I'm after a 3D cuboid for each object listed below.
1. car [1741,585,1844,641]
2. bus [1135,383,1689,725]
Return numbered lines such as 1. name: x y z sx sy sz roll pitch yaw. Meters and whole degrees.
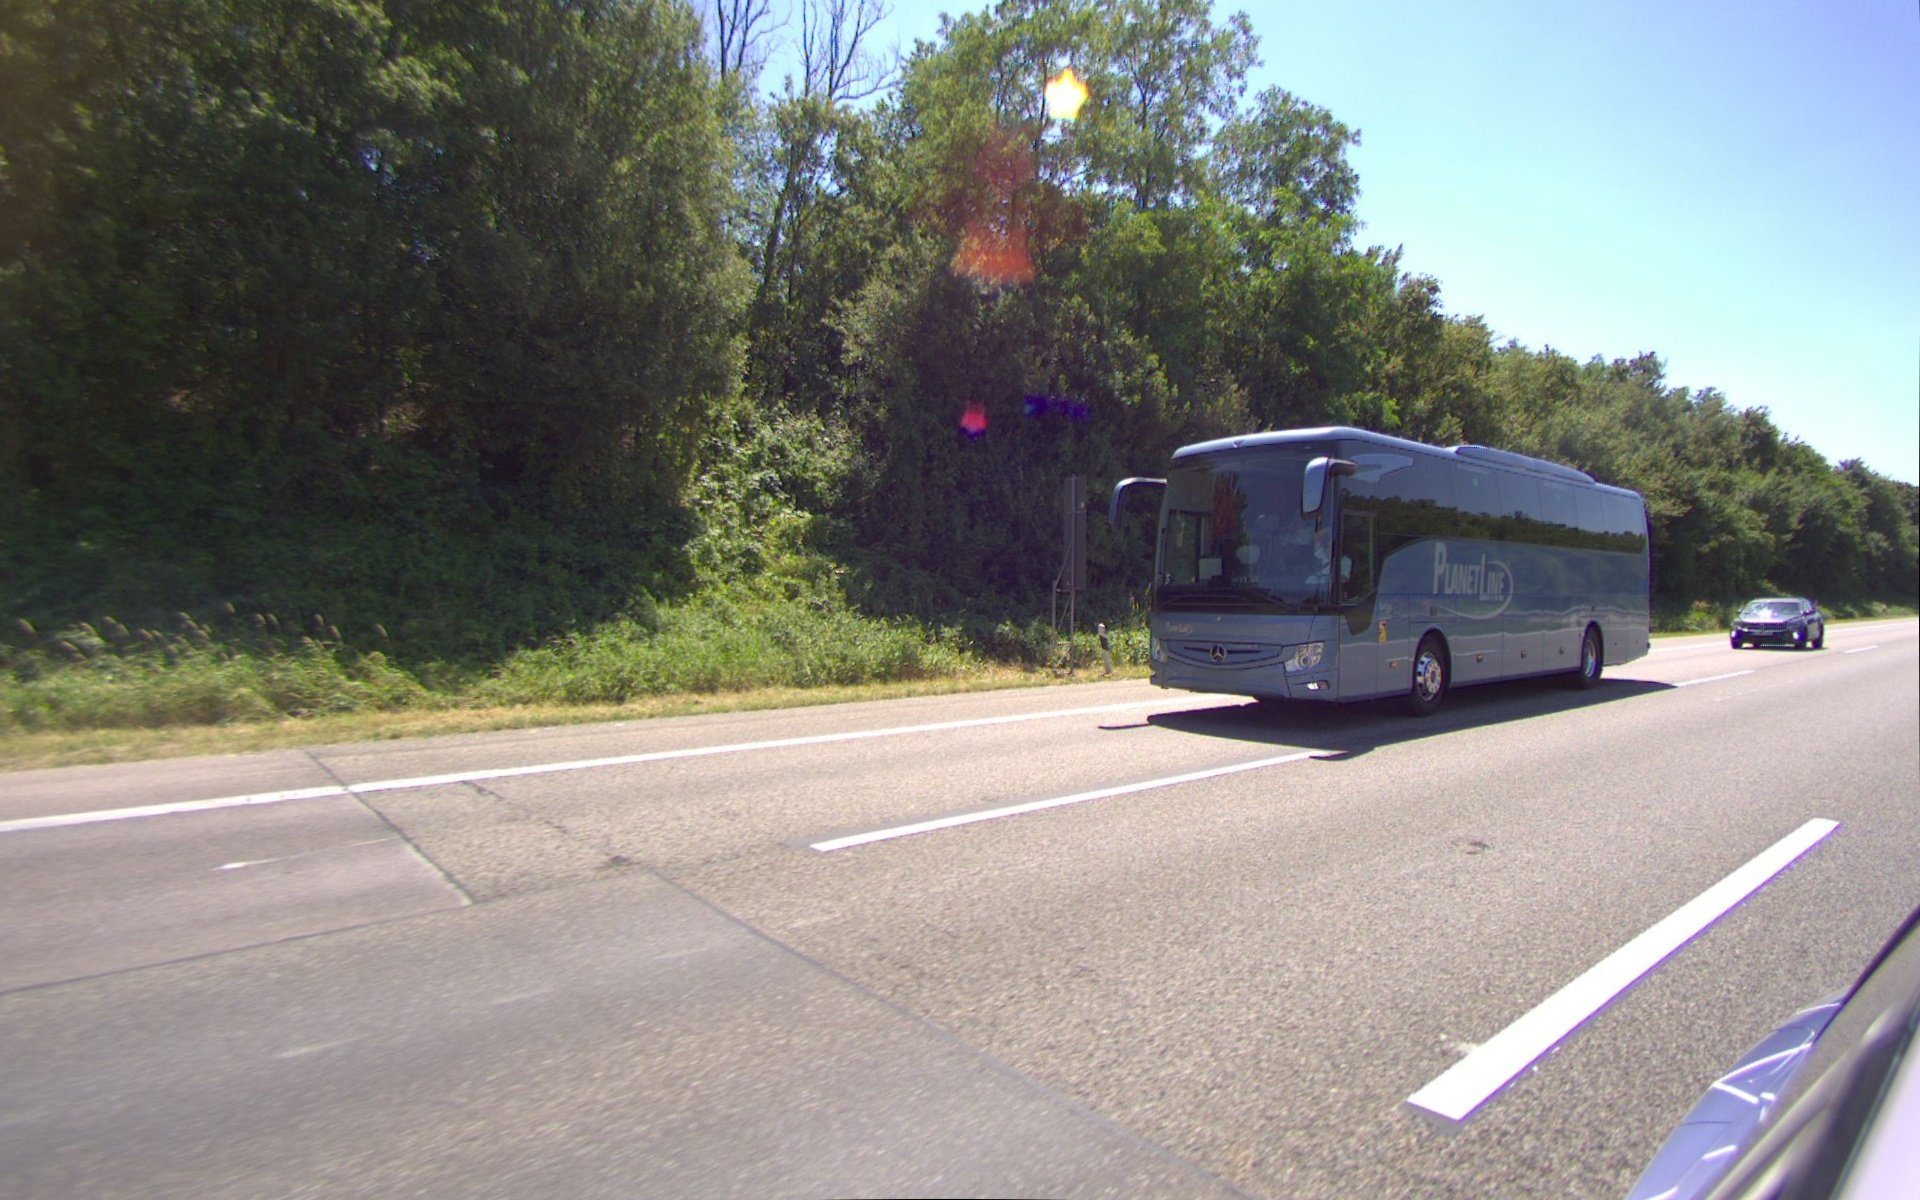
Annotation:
1. car: 25.640 0.349 31.144 3.930 1.636 1.812 -1 0 -41
2. bus: 8.107 -0.556 16.065 13.444 3.597 2.615 -1 0 -41
